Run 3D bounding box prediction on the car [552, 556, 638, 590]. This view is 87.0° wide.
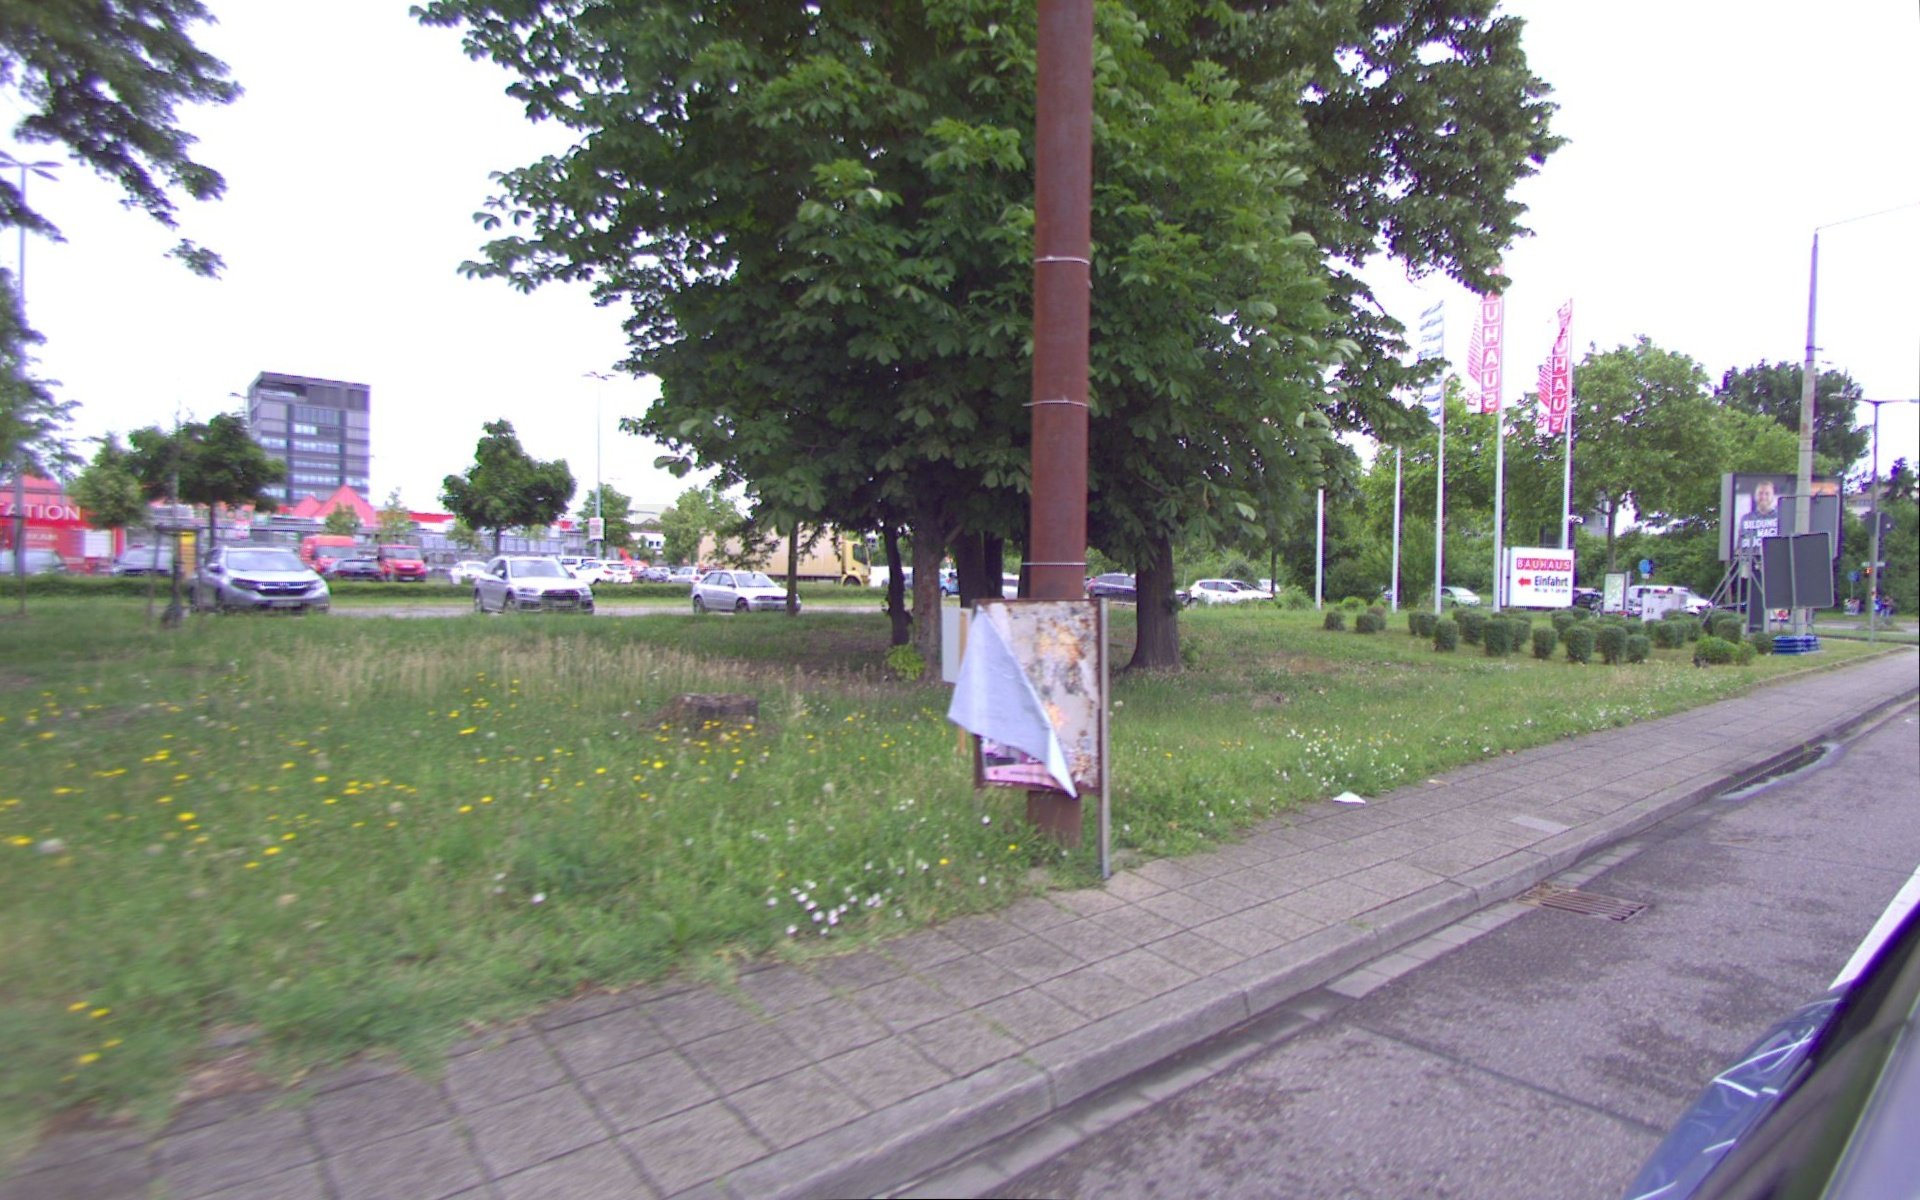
[{"bbox_3d":[-19.883,-1.489,55.136,4.536,1.697,2.130,3,2,34],"label":"car"}]

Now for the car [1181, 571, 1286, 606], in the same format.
[{"bbox_3d":[12.328,-0.520,45.814,1.899,1.516,4.225,-1,1,-43],"label":"car"}]

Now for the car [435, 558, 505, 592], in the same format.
[{"bbox_3d":[-27.050,-1.390,55.809,2.120,1.697,4.557,0,3,-45],"label":"car"}]

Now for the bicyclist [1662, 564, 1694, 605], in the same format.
[{"bbox_3d":[27.448,-0.602,38.691,0.570,1.538,0.761,1,1,-23],"label":"bicyclist"}]

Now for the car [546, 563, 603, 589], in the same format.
[{"bbox_3d":[-27.312,-1.699,71.608,2.120,1.697,4.557,0,3,-45],"label":"car"}]

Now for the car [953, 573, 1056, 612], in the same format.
[{"bbox_3d":[2.026,-0.354,45.438,4.424,1.691,1.998,-1,1,-39],"label":"car"}]

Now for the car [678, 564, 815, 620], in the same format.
[{"bbox_3d":[-6.341,-0.236,29.788,1.900,1.516,4.446,-1,1,-44],"label":"car"}]

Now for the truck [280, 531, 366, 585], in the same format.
[{"bbox_3d":[-33.810,-2.247,53.567,2.443,2.667,7.870,0,2,-43],"label":"truck"}]

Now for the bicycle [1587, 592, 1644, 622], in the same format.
[{"bbox_3d":[25.963,0.272,40.104,1.780,1.131,0.487,2,1,13],"label":"bicycle"}]

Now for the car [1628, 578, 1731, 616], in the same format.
[{"bbox_3d":[37.477,-0.210,52.878,1.842,1.851,4.429,0,2,-7],"label":"car"}]

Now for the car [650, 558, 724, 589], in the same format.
[{"bbox_3d":[-16.046,-1.568,59.382,4.555,1.697,2.121,3,3,44],"label":"car"}]

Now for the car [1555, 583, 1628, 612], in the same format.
[{"bbox_3d":[36.933,-0.184,59.269,1.662,1.550,3.694,1,2,-6],"label":"car"}]

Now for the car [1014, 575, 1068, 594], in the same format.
[{"bbox_3d":[8.750,-1.695,110.172,5.617,1.917,2.156,1,2,0],"label":"car"}]

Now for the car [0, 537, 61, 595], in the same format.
[{"bbox_3d":[-29.471,-1.094,31.416,2.120,1.697,4.557,0,3,-45],"label":"car"}]

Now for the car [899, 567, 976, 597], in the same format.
[{"bbox_3d":[-1.303,-1.035,57.159,1.951,1.525,4.565,0,2,-39],"label":"car"}]

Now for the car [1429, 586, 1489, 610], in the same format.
[{"bbox_3d":[32.782,-0.138,66.567,1.750,1.552,4.004,0,1,-4],"label":"car"}]

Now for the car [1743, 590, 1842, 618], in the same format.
[{"bbox_3d":[45.377,0.206,55.288,1.800,1.442,4.006,1,0,-8],"label":"car"}]

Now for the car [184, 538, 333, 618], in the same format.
[{"bbox_3d":[-15.020,-0.438,21.571,1.928,1.516,4.534,-1,1,-44],"label":"car"}]

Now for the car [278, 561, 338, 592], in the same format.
[{"bbox_3d":[-39.202,-1.426,60.824,2.120,1.697,4.557,0,3,-45],"label":"car"}]

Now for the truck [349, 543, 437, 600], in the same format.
[{"bbox_3d":[-31.022,-1.616,55.243,2.443,2.850,7.870,0,2,-43],"label":"truck"}]

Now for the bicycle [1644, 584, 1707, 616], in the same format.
[{"bbox_3d":[27.408,-0.016,38.795,0.570,1.163,1.899,1,2,-23],"label":"bicycle"}]

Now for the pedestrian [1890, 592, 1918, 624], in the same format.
[{"bbox_3d":[50.723,0.406,54.371,0.732,1.660,0.776,1,1,10],"label":"pedestrian"}]

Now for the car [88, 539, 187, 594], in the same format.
[{"bbox_3d":[-27.224,-1.129,33.437,2.120,1.697,4.557,0,3,-45],"label":"car"}]

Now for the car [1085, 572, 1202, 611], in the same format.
[{"bbox_3d":[7.573,-0.365,42.099,1.900,1.516,4.601,-1,1,-44],"label":"car"}]

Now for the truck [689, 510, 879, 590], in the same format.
[{"bbox_3d":[-8.514,-2.315,50.024,9.088,3.609,2.944,-1,0,-41],"label":"truck"}]

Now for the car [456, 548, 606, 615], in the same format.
[{"bbox_3d":[-10.901,-0.446,25.535,2.133,1.516,4.682,-1,1,-41],"label":"car"}]

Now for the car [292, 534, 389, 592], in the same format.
[{"bbox_3d":[-23.359,-1.412,38.082,2.120,2.076,4.557,0,3,-45],"label":"car"}]
